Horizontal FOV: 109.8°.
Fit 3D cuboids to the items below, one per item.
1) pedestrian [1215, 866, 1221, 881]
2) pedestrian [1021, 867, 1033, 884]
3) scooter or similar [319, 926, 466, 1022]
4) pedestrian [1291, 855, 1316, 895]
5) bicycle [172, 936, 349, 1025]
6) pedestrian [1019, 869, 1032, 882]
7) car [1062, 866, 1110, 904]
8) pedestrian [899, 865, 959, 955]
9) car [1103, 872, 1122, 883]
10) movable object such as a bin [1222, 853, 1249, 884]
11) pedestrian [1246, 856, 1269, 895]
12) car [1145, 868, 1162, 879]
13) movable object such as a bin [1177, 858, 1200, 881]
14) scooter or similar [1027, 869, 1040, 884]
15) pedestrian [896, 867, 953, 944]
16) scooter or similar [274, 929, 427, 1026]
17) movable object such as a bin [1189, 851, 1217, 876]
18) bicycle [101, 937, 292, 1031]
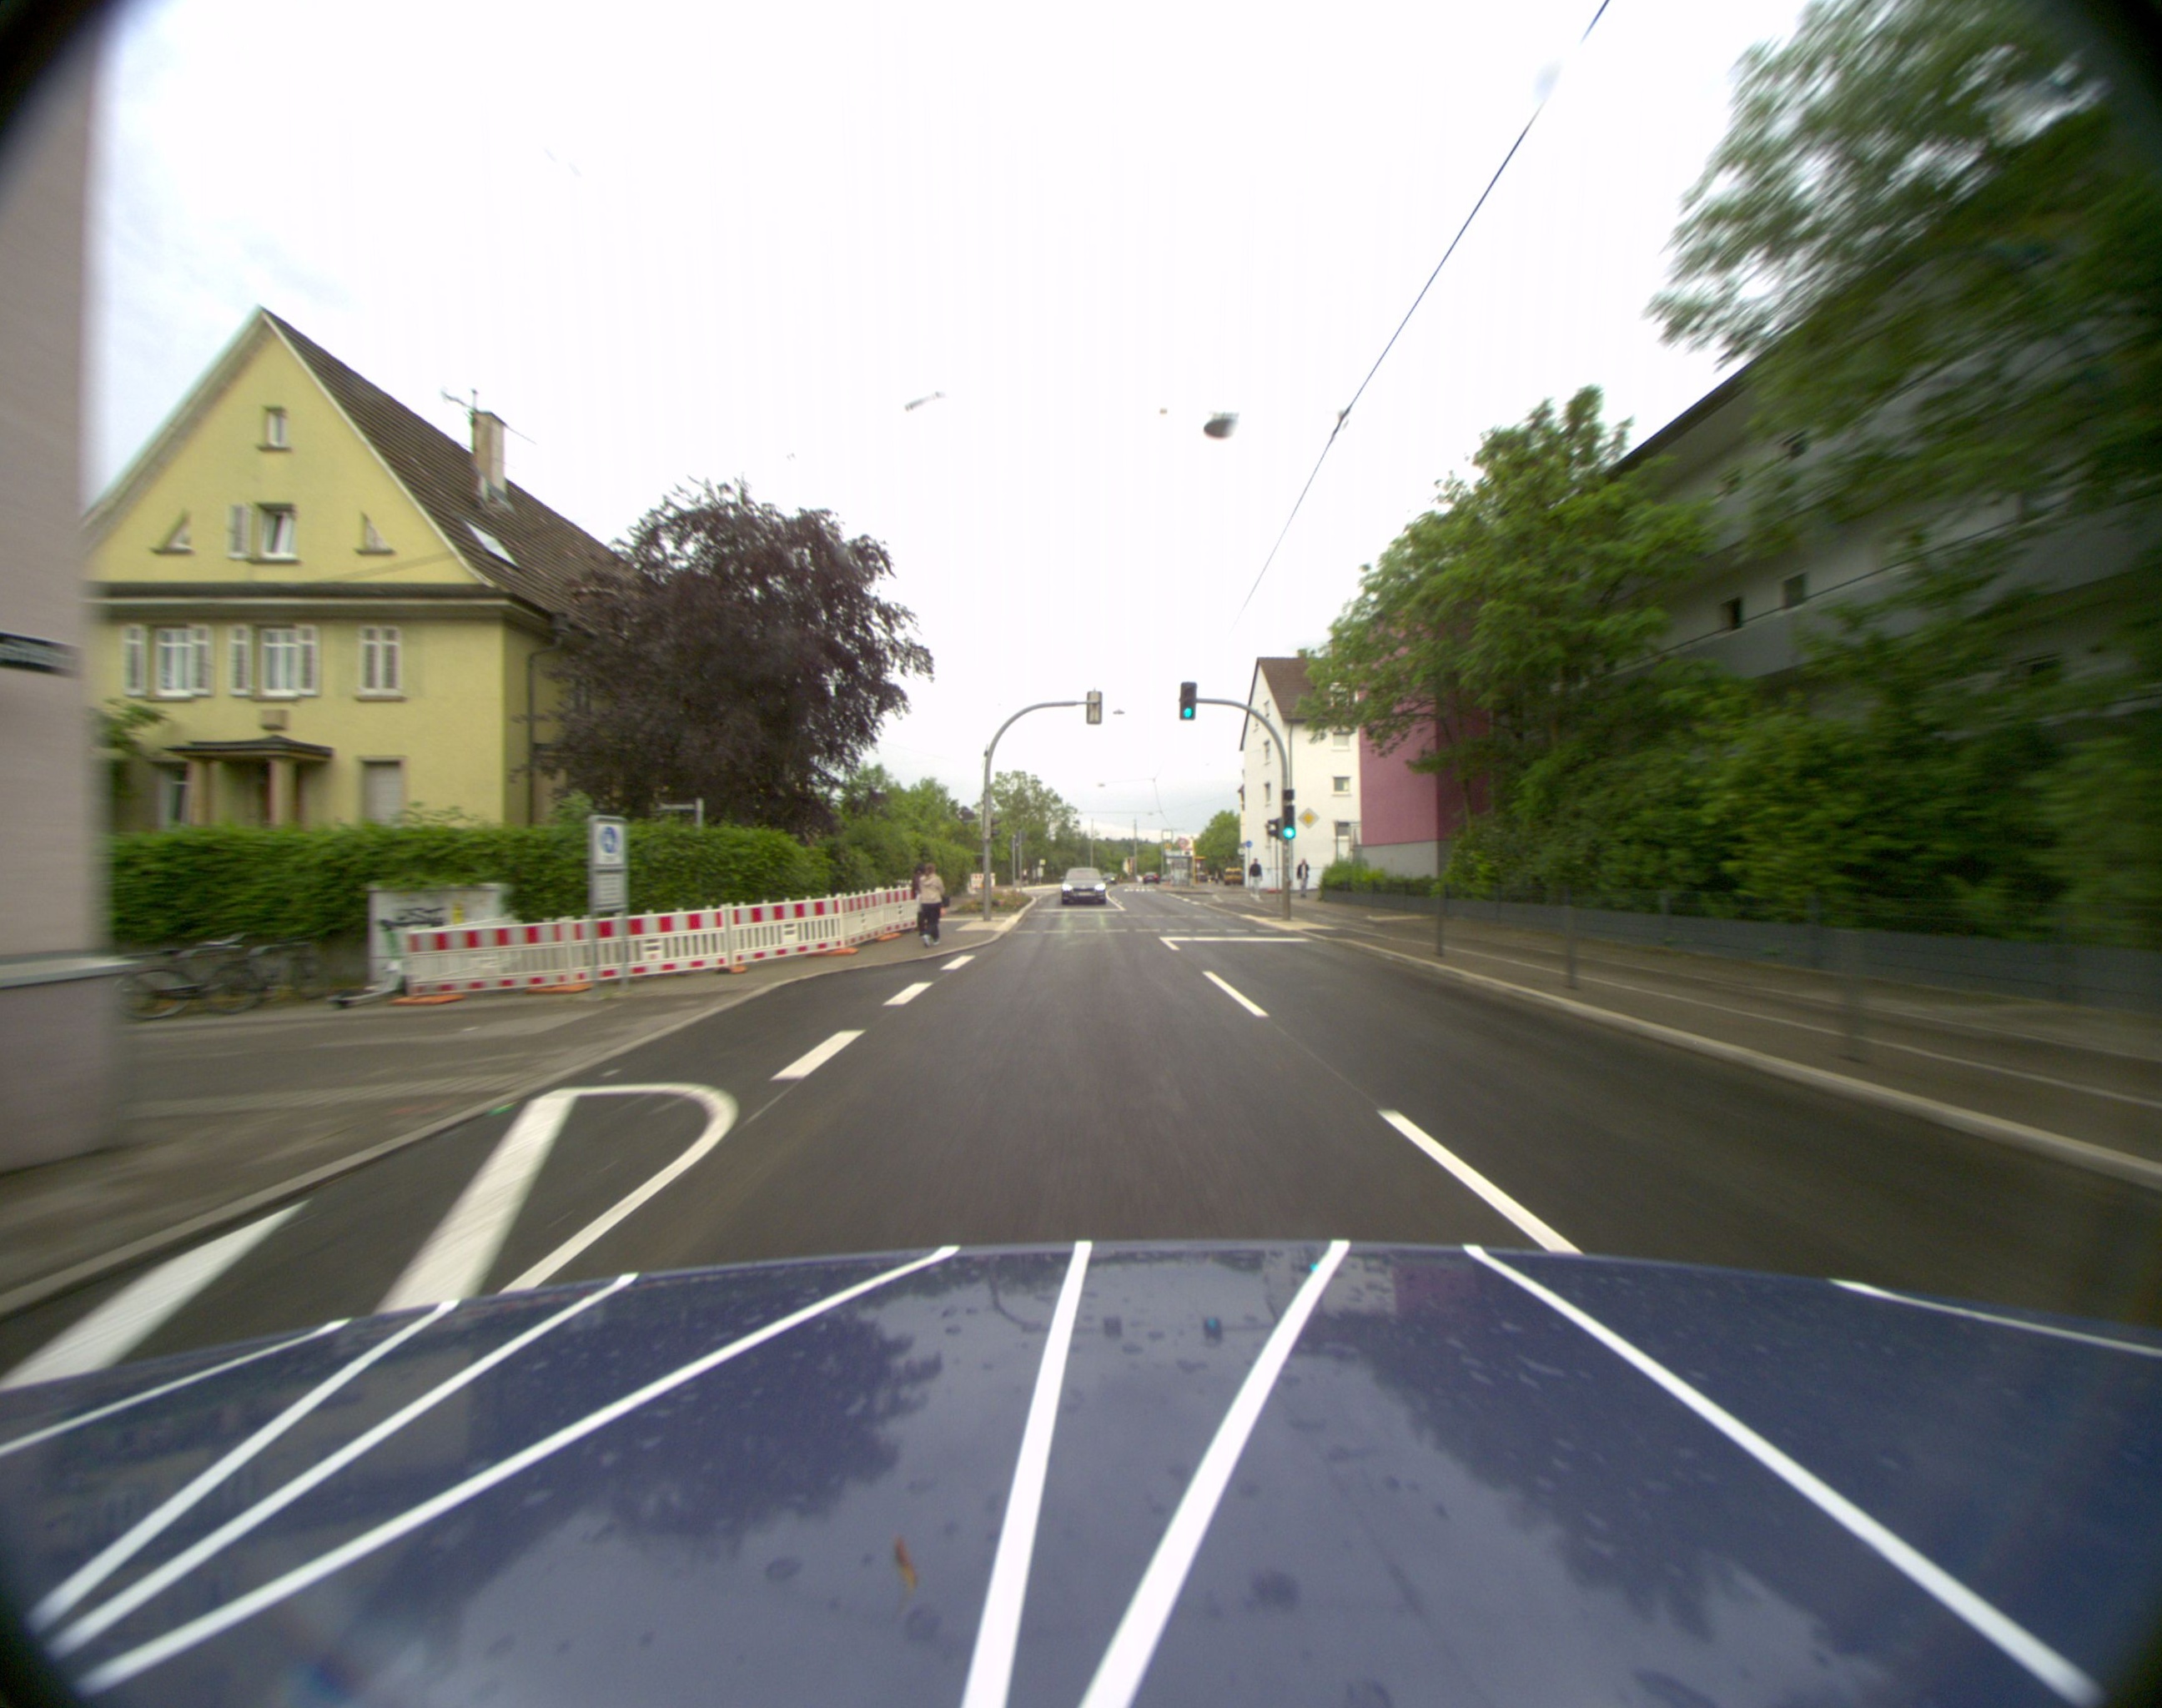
[{"bbox_3d":[14.624,2.094,80.958,0.603,1.519,1.039,-2,-2,10],"label":"pedestrian"},{"bbox_3d":[-4.817,1.908,68.221,0.922,1.537,0.543,0,-1,-32],"label":"pedestrian"},{"bbox_3d":[-9.884,1.678,11.001,0.422,1.073,1.831,-4,0,-1],"label":"scooter or similar"},{"bbox_3d":[10.414,0.978,35.617,0.808,1.810,1.116,-1,-1,0],"label":"pedestrian"},{"bbox_3d":[-12.166,1.832,11.376,0.427,0.991,2.028,-2,0,0],"label":"bicycle"},{"bbox_3d":[-5.656,2.144,77.377,1.070,1.321,0.808,0,-1,-32],"label":"pedestrian"},{"bbox_3d":[0.172,1.273,31.349,1.837,1.429,4.001,-1,-2,-1],"label":"car"},{"bbox_3d":[-2.902,1.047,14.646,0.785,1.632,1.222,-2,1,4],"label":"pedestrian"},{"bbox_3d":[3.819,2.905,92.366,1.604,1.294,3.718,-2,-2,12],"label":"car"},{"bbox_3d":[14.824,1.416,72.574,2.132,2.789,4.985,-3,-2,14],"label":"movable object such as a bin"},{"bbox_3d":[8.516,1.046,36.721,0.864,1.871,1.044,0,-1,-2],"label":"pedestrian"},{"bbox_3d":[9.046,2.428,94.869,1.786,1.444,4.394,0,-1,10],"label":"car"},{"bbox_3d":[14.808,2.205,104.542,2.828,3.093,4.639,-1,-2,13],"label":"movable object such as a bin"},{"bbox_3d":[-4.273,2.015,68.277,1.245,1.307,0.231,0,-1,-35],"label":"scooter or similar"},{"bbox_3d":[-3.329,1.083,16.295,0.876,1.551,1.049,-2,1,6],"label":"pedestrian"},{"bbox_3d":[-10.541,1.734,11.060,0.422,1.093,1.831,-4,0,-1],"label":"scooter or similar"},{"bbox_3d":[19.322,1.552,119.958,2.952,3.820,8.140,-1,-2,18],"label":"movable object such as a bin"},{"bbox_3d":[-13.153,1.891,11.407,0.427,0.991,2.027,-2,2,0],"label":"bicycle"}]
